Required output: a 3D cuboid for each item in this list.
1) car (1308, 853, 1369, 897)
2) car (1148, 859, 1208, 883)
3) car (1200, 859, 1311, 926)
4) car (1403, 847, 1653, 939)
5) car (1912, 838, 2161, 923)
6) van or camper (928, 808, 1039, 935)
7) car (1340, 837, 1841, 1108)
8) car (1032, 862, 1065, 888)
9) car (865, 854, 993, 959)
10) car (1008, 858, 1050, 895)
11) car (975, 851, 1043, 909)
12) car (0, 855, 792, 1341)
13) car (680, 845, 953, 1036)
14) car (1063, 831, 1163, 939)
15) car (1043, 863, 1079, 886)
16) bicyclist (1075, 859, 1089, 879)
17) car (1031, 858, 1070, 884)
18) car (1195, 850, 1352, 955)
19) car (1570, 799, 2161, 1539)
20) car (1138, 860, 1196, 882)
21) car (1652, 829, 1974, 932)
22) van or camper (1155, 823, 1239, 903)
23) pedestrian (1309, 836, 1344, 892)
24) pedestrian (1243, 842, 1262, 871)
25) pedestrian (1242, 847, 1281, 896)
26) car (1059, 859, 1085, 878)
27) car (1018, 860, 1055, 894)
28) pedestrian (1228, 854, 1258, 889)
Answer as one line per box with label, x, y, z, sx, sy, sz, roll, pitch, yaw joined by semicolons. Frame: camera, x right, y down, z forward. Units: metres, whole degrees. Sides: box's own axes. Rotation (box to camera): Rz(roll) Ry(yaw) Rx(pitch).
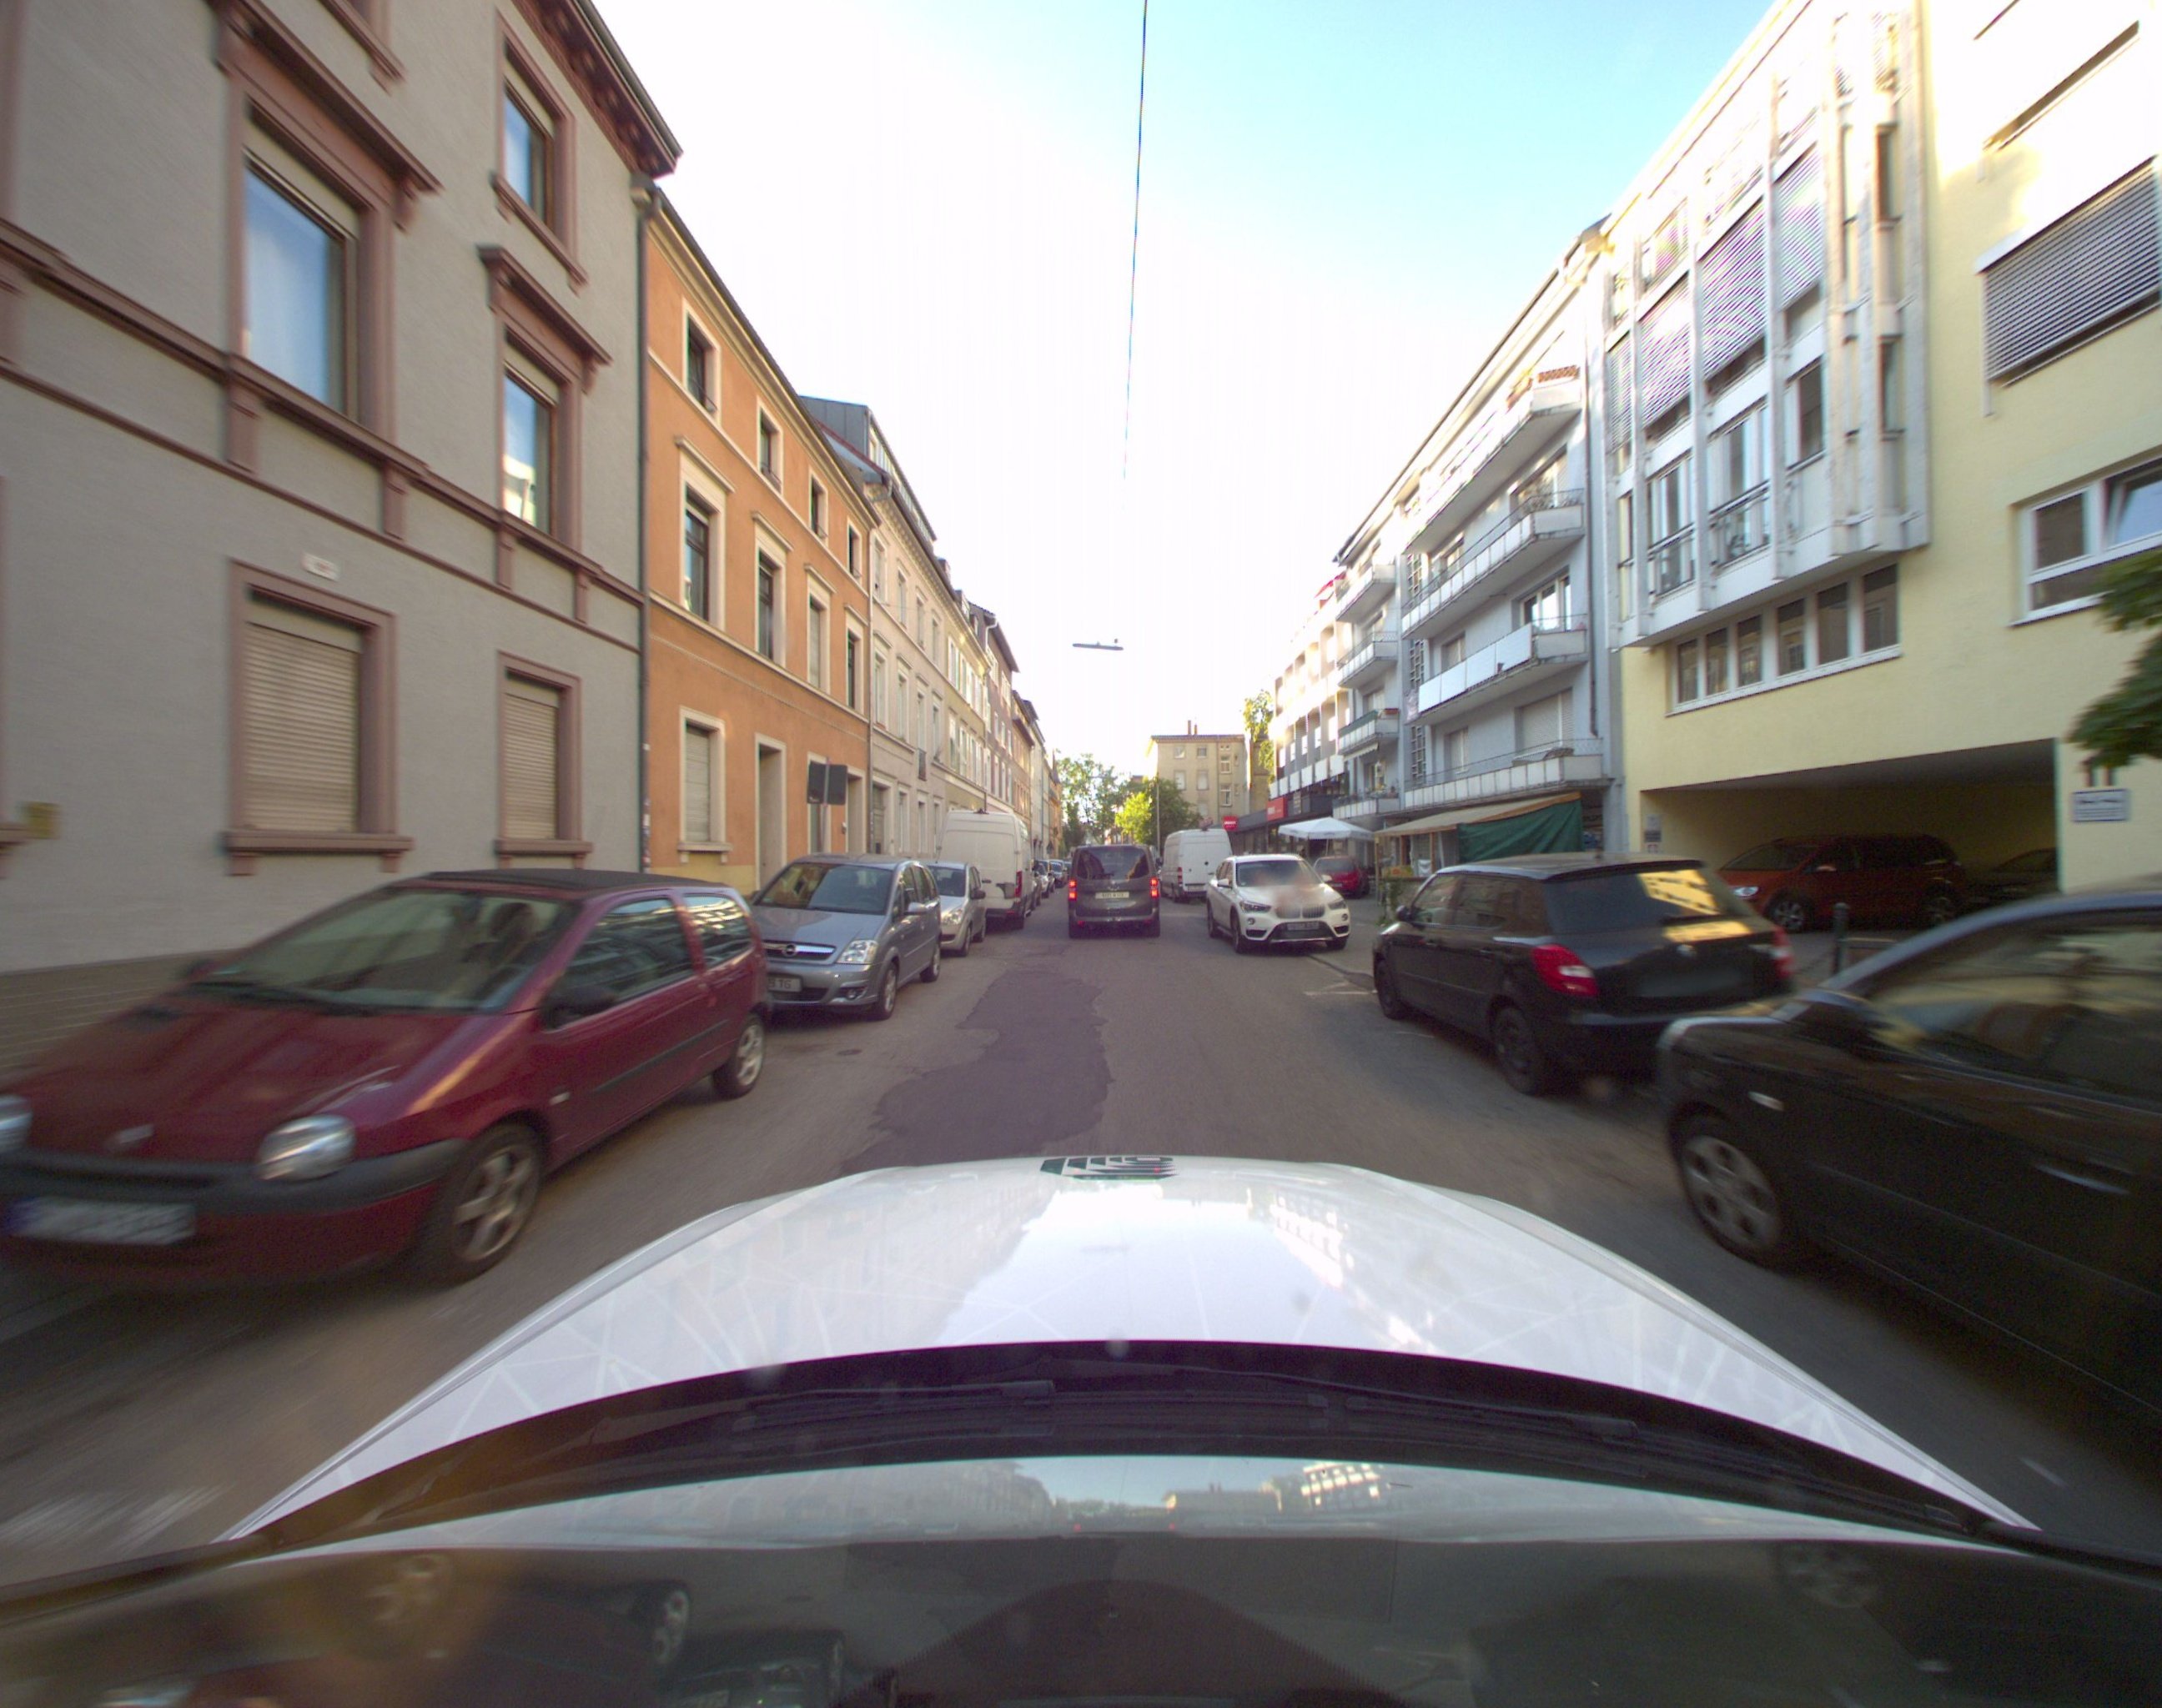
car;8.876;0.700;27.929;1.585;1.416;3.247;-2;-1;24
car;7.848;1.371;66.175;4.563;1.859;1.996;0;-1;-6
car;4.092;0.855;19.783;1.717;1.388;4.294;-2;-1;0
car;8.436;0.715;15.609;3.882;1.607;1.694;1;-1;0
car;17.962;0.457;14.840;3.934;1.420;1.759;-1;-1;-2
van or camper;-2.245;0.411;20.807;1.943;2.649;7.138;-2;-1;0
car;3.571;0.701;6.737;1.614;1.486;4.126;-3;-1;2
car;-1.839;1.170;47.015;1.783;1.397;4.464;1;-1;-2
car;-2.639;0.859;14.895;1.584;1.686;3.653;0;-1;1
car;-2.166;0.912;34.584;1.707;1.497;3.851;0;-1;-3
car;-2.299;0.820;27.013;1.857;1.751;4.293;0;-1;0
car;-2.956;0.785;4.207;1.651;1.448;3.286;3;-1;0
car;-2.662;0.791;9.246;1.705;1.644;3.979;2;-1;0
car;0.644;0.620;17.739;1.851;2.014;4.000;-2;-1;1
car;-1.372;1.397;57.822;1.983;1.560;4.592;0;-1;6
bicyclist;0.104;1.219;66.459;1.029;1.578;0.834;-1;-1;5
car;-1.889;1.065;51.931;1.985;1.605;4.589;0;-1;3
car;3.306;0.783;14.914;1.717;1.612;4.586;0;-1;-1
car;3.122;0.668;2.196;1.614;1.558;3.698;0;-1;4
car;7.242;1.398;68.612;4.563;1.859;1.996;0;-1;-6
car;13.000;0.450;14.661;4.097;1.659;1.998;-1;-1;-3
van or camper;4.204;0.345;30.889;2.093;2.602;7.510;-1;-1;0
pedestrian;9.589;0.382;31.809;0.874;2.145;0.951;-1;-1;-15
pedestrian;11.631;0.162;55.175;1.077;1.945;0.875;-1;-1;19
pedestrian;5.967;0.577;26.990;0.874;1.556;0.869;-3;0;-21
car;-0.776;1.205;67.356;2.138;1.561;4.581;0;-1;-2
car;-2.037;1.069;38.131;1.379;1.532;2.752;0;-1;4
pedestrian;8.037;0.874;40.506;0.939;1.720;1.052;-1;-1;-33
